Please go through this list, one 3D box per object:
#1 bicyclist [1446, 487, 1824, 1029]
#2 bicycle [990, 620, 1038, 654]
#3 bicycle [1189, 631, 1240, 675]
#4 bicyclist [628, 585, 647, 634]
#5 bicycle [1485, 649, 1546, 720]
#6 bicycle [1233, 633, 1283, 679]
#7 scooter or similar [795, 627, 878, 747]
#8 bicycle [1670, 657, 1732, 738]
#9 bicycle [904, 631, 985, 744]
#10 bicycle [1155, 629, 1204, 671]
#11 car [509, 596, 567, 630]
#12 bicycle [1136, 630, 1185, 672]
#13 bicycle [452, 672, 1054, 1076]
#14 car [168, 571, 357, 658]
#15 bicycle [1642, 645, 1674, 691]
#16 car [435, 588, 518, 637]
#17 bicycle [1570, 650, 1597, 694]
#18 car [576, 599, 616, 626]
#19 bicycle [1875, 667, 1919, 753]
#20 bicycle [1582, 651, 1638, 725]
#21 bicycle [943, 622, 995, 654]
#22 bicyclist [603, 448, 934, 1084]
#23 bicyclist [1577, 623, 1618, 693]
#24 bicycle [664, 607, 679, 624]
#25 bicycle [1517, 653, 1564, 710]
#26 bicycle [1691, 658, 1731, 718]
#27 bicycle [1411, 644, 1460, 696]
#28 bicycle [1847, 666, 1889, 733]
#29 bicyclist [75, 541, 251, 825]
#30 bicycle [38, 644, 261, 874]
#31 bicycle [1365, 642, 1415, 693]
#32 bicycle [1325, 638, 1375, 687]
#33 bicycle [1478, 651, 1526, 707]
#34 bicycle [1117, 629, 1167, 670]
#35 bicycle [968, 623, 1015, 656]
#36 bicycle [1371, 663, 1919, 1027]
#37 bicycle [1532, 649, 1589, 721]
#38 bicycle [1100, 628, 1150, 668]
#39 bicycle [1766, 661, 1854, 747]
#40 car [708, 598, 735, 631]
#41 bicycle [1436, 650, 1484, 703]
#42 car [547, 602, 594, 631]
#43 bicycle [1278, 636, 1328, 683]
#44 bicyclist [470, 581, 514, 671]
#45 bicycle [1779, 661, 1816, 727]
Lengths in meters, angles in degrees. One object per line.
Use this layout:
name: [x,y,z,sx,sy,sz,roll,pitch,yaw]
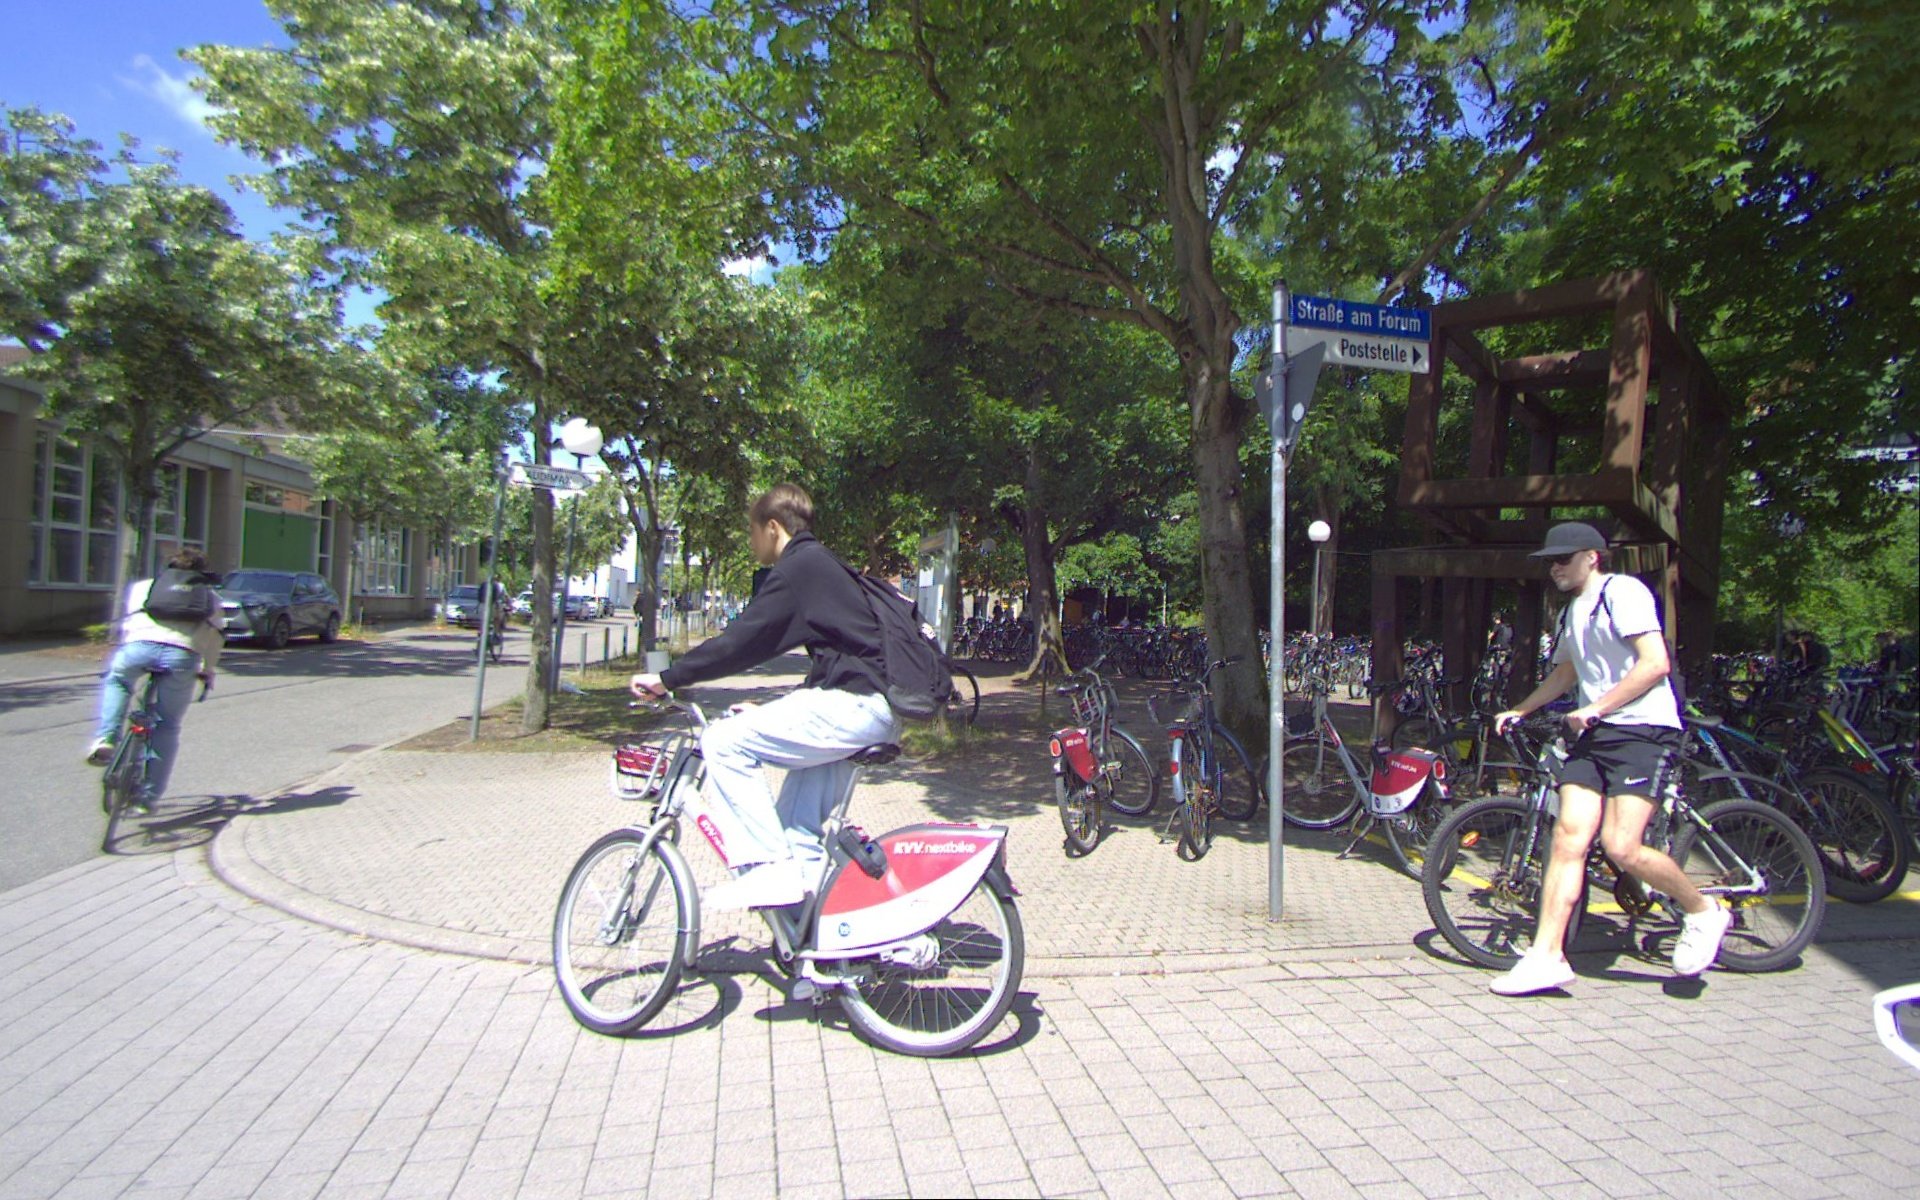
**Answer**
bicyclist: [2.625,0.574,4.016,0.851,1.917,0.805,3,1,-3]
bicycle: [1.870,1.279,34.470,1.846,1.098,0.468,3,0,-43]
bicycle: [6.712,1.391,26.424,0.467,1.098,1.850,3,0,41]
bicyclist: [-12.743,0.380,39.688,0.659,1.900,0.824,1,-1,-17]
bicycle: [9.502,1.415,17.143,0.495,1.122,1.898,3,0,40]
bicycle: [7.564,1.406,25.451,0.467,1.098,1.850,3,0,41]
scooter or similar: [-1.306,0.900,10.777,0.287,1.210,1.185,2,-1,24]
bicycle: [11.565,1.489,15.705,0.493,1.122,1.697,3,0,28]
bicycle: [-0.211,0.965,11.598,0.387,1.123,1.832,3,0,-17]
bicycle: [6.041,1.374,27.595,0.467,1.098,1.850,3,0,41]
car: [-20.452,0.631,48.854,1.807,1.561,4.527,2,-1,-13]
bicycle: [5.626,1.419,28.106,0.467,1.098,1.850,3,0,41]
bicycle: [-0.622,0.842,3.387,1.848,1.155,0.675,0,-1,4]
car: [-15.379,0.314,22.468,1.807,1.638,4.527,4,-1,-13]
bicycle: [18.440,1.774,26.555,0.508,1.125,1.774,3,0,30]
car: [-18.168,0.473,37.946,1.807,1.655,4.527,2,-1,-13]
bicycle: [16.954,1.942,27.338,0.508,1.125,1.774,3,0,30]
car: [-22.994,0.791,63.540,1.807,1.561,4.527,2,-1,-13]
bicycle: [13.644,1.553,14.289,0.493,1.122,1.697,3,0,28]
bicycle: [10.682,1.420,16.489,0.495,1.122,1.771,3,0,40]
bicycle: [0.316,1.372,36.220,1.836,1.098,0.470,3,0,-29]
bicyclist: [-0.594,0.502,3.392,0.950,1.912,0.675,0,-1,4]
bicyclist: [15.235,1.379,24.009,0.710,1.589,0.593,3,0,38]
bicycle: [-20.035,1.083,69.795,0.469,1.098,1.683,3,0,-34]
bicycle: [12.162,1.681,21.018,0.467,1.098,1.850,3,0,41]
bicycle: [14.642,1.691,19.575,0.467,1.098,1.691,3,0,41]
bicycle: [10.620,1.547,22.399,0.467,1.098,1.850,3,0,41]
bicycle: [16.206,1.751,17.952,0.467,1.098,1.691,3,0,41]
bicyclist: [-4.860,0.477,6.185,0.632,1.594,0.869,2,-1,-26]
bicycle: [-4.833,0.860,6.123,0.632,1.123,1.807,2,-1,-26]
bicycle: [9.955,1.541,23.222,0.467,1.098,1.850,3,0,41]
bicycle: [9.323,1.482,23.975,0.467,1.098,1.850,3,0,41]
bicycle: [11.556,1.662,21.387,0.467,1.098,1.850,3,0,41]
bicycle: [5.151,1.401,28.392,0.467,1.098,1.850,3,0,41]
bicycle: [1.120,1.390,35.418,1.846,1.098,0.468,3,0,-43]
bicycle: [2.767,0.922,4.029,1.850,1.187,0.805,3,1,-3]
bicycle: [10.164,1.406,16.981,0.495,1.122,1.771,3,0,40]
bicycle: [4.758,1.387,28.846,0.467,1.098,1.850,3,0,41]
bicycle: [12.645,1.506,14.984,0.620,1.122,1.697,3,0,28]
car: [-23.500,1.448,99.154,2.230,3.053,5.726,4,-2,-12]
bicycle: [10.975,1.652,22.020,0.467,1.098,1.850,3,0,41]
car: [-22.151,0.923,57.221,1.807,1.561,4.527,2,-1,-13]
bicycle: [8.415,1.446,24.610,0.467,1.098,1.850,3,0,41]
bicyclist: [-9.742,0.548,20.953,0.594,1.825,0.897,1,-1,-12]
bicycle: [15.304,1.696,18.346,0.467,1.098,1.691,3,0,41]
